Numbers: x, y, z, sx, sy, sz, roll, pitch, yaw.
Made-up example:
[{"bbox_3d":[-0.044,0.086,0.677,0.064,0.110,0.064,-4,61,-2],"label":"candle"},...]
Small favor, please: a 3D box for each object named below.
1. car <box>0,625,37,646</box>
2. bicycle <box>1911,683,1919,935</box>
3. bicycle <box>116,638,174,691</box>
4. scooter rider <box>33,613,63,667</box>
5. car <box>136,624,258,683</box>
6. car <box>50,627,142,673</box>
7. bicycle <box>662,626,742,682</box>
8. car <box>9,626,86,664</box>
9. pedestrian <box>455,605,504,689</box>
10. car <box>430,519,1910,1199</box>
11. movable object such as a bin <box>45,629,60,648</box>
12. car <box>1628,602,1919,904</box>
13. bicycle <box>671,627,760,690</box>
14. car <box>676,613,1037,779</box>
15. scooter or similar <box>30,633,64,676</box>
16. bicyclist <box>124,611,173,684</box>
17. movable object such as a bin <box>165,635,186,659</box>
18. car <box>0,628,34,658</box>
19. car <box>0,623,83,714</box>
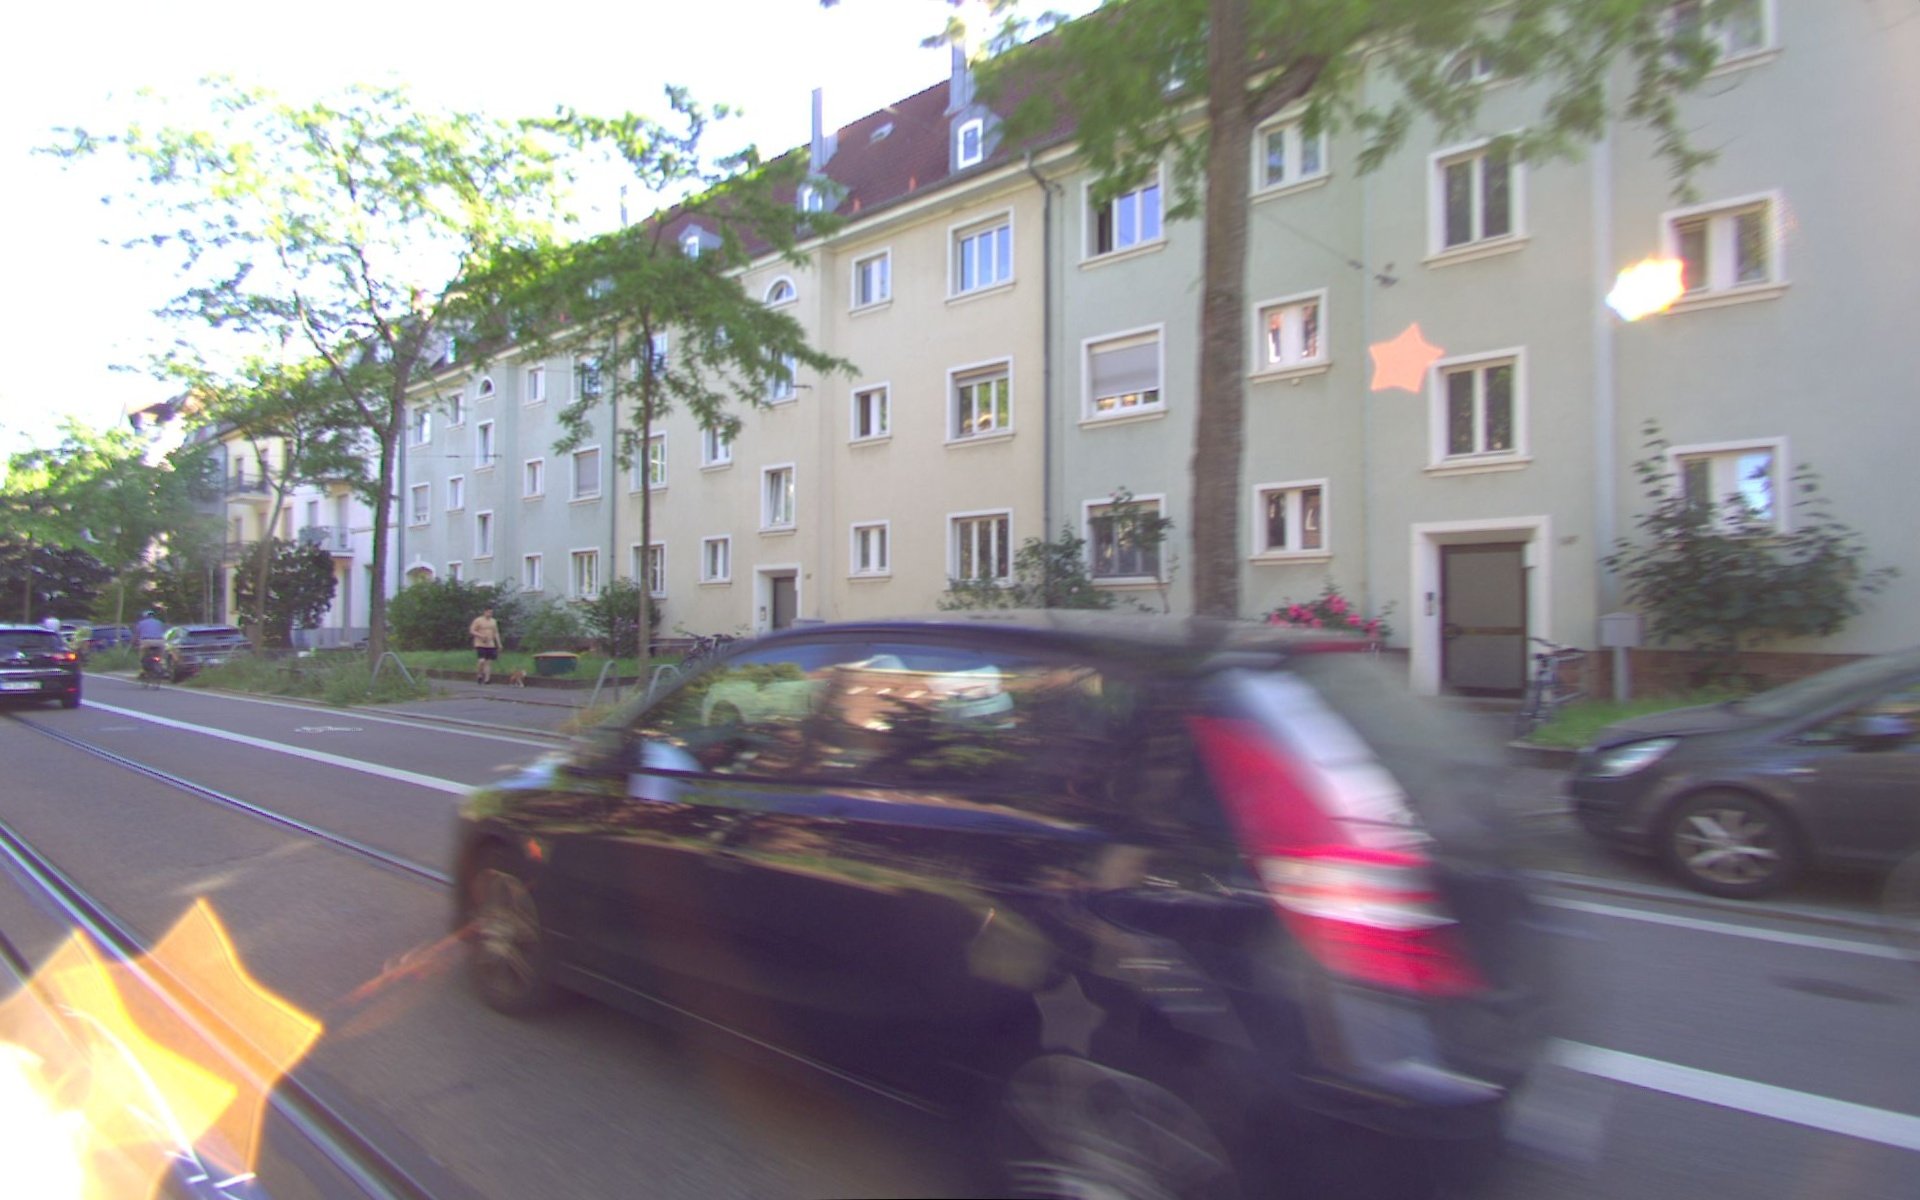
[{"bbox_3d":[-78.208,2.909,82.442,1.952,1.673,4.256,-2,-1,41],"label":"car"},{"bbox_3d":[4.806,0.928,3.661,1.911,1.186,0.687,-1,-5,40],"label":"bicycle"},{"bbox_3d":[-19.010,1.494,23.596,1.911,1.186,0.620,-1,-5,40],"label":"bicycle"},{"bbox_3d":[-29.039,1.276,32.234,0.786,1.712,0.491,-2,-5,40],"label":"scooter rider"},{"bbox_3d":[-21.206,1.437,28.061,4.202,1.496,1.799,-1,-1,40],"label":"car"},{"bbox_3d":[-31.153,1.760,36.458,4.433,1.522,1.741,-1,-1,39],"label":"car"},{"bbox_3d":[-6.032,1.247,23.764,0.521,1.186,1.889,-1,0,37],"label":"bicycle"},{"bbox_3d":[-39.249,1.915,43.488,4.366,1.522,1.799,-1,-1,39],"label":"car"},{"bbox_3d":[-10.768,1.044,22.674,0.812,1.815,0.684,-1,-3,40],"label":"pedestrian"},{"bbox_3d":[0.111,0.687,3.198,4.066,1.482,1.683,-1,-2,39],"label":"car"},{"bbox_3d":[-52.171,2.187,58.183,0.670,1.074,0.535,-2,-2,40],"label":"movable object such as a bin"},{"bbox_3d":[5.910,0.774,5.415,3.755,1.496,1.670,-1,0,39],"label":"car"},{"bbox_3d":[-5.082,1.190,21.115,0.521,1.186,1.889,-1,0,37],"label":"bicycle"},{"bbox_3d":[-1.287,0.948,11.471,4.075,1.496,1.686,-1,1,40],"label":"car"},{"bbox_3d":[-29.032,1.724,32.176,1.376,1.307,0.515,-1,-5,40],"label":"scooter or similar"},{"bbox_3d":[-18.868,1.096,23.525,0.939,1.652,0.620,-1,-5,40],"label":"bicyclist"},{"bbox_3d":[-33.393,1.992,43.077,0.732,0.983,0.553,-1,0,43],"label":"movable object such as a bin"},{"bbox_3d":[-47.835,2.155,50.590,4.329,1.417,1.689,-1,-1,39],"label":"car"},{"bbox_3d":[-16.765,1.128,17.521,4.066,1.450,1.683,-1,-2,39],"label":"car"}]
